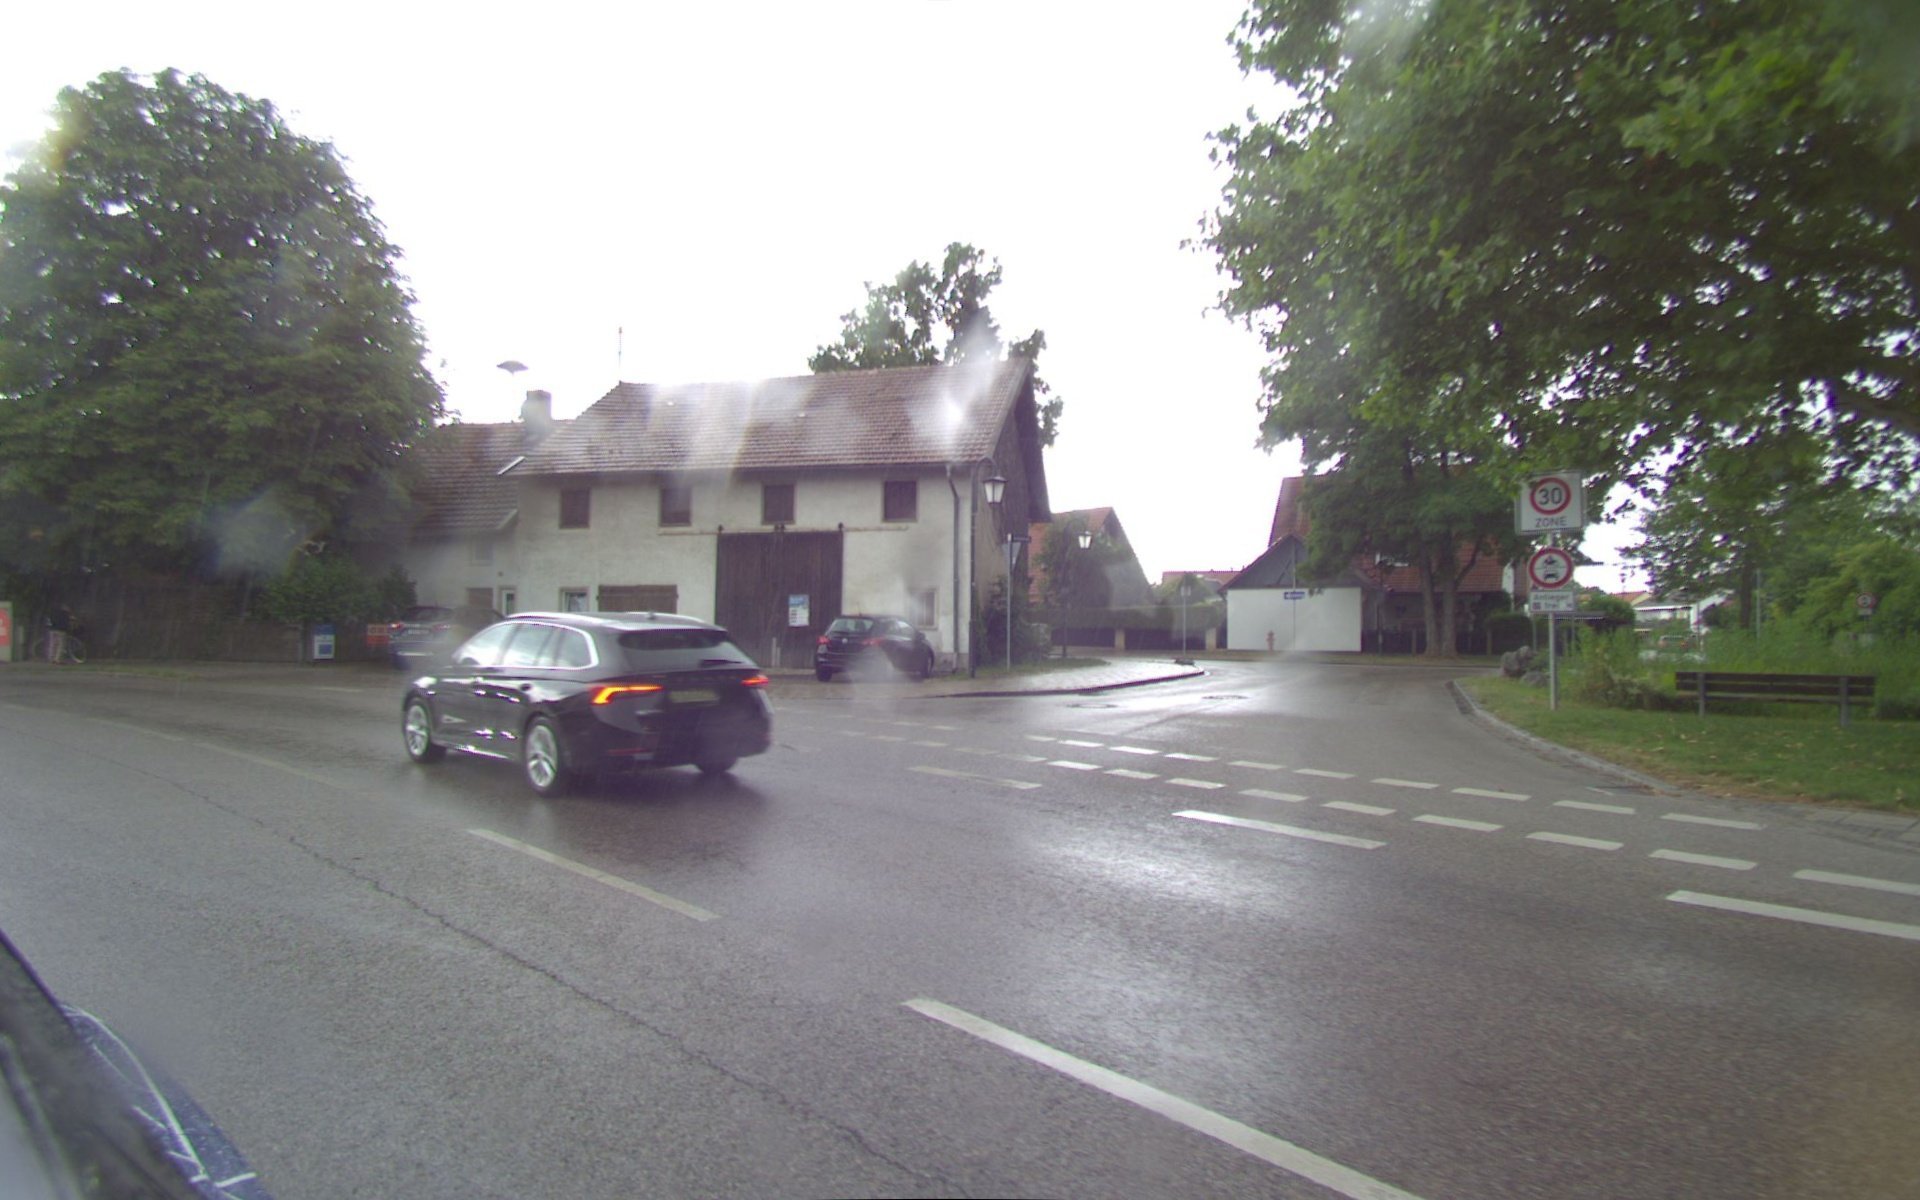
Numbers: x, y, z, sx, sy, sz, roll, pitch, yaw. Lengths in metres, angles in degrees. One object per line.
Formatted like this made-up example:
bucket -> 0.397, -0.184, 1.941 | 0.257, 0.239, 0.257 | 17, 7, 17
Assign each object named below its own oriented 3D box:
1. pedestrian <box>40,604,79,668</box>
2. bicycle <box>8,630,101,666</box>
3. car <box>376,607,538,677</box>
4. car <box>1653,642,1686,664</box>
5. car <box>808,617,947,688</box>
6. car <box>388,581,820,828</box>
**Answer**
pedestrian -> -23.091, 0.917, 25.953 | 0.642, 1.640, 0.480 | 1, -1, -30
bicycle -> -23.855, 1.257, 26.676 | 1.848, 0.909, 0.664 | 0, -1, -1
car -> -12.244, 1.049, 24.997 | 1.793, 1.560, 4.279 | 1, -3, 1
car -> 55.334, 4.119, 79.026 | 1.995, 1.453, 3.954 | 0, 0, 34
car -> -1.742, 1.118, 22.914 | 1.804, 1.447, 4.259 | 0, -1, 15
car -> -3.359, 0.757, 9.035 | 4.445, 1.676, 1.765 | -2, -2, 43
